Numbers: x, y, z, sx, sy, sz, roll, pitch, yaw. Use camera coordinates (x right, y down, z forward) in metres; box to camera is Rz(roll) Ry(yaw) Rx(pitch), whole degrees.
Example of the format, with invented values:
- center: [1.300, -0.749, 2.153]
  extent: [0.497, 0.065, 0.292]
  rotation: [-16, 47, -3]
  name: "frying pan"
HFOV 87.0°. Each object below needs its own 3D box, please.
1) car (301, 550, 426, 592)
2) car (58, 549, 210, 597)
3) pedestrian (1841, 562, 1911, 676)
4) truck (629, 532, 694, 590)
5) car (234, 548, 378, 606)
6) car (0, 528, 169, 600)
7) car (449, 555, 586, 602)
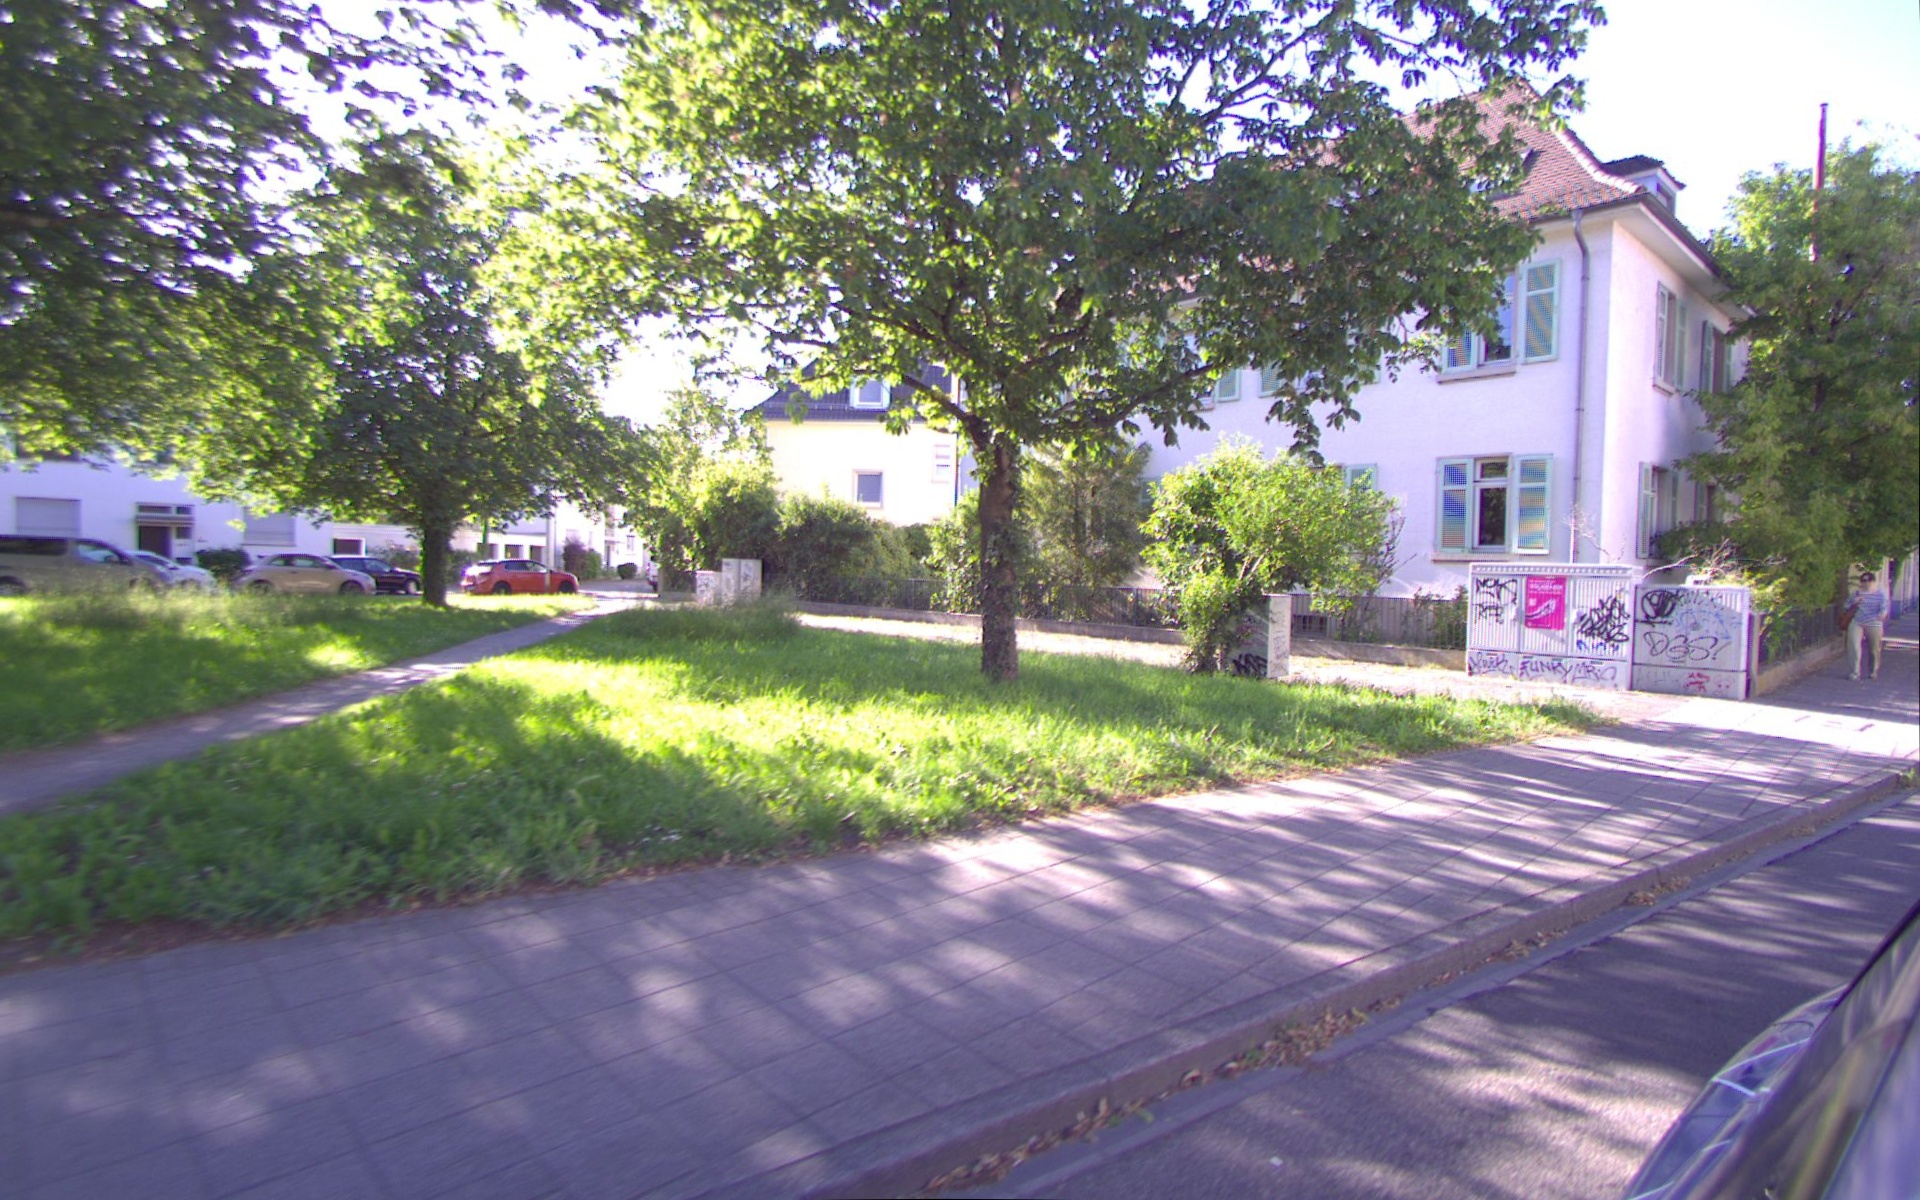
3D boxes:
- center: [-22.491, -1.084, 38.198]
  extent: [3.828, 1.489, 1.757]
  rotation: [-1, 2, -41]
  name: "car"
- center: [-27.447, -0.905, 33.697]
  extent: [3.831, 1.489, 1.756]
  rotation: [-1, 2, -43]
  name: "car"
- center: [14.371, 0.275, 15.872]
  extent: [0.927, 1.694, 0.654]
  rotation: [0, 3, -43]
  name: "pedestrian"
- center: [-14.075, -1.852, 47.964]
  extent: [1.960, 2.607, 4.986]
  rotation: [1, 2, -4]
  name: "truck"
- center: [-20.113, -0.710, 31.157]
  extent: [3.643, 1.668, 1.923]
  rotation: [0, 2, -36]
  name: "car"
- center: [-24.290, -0.971, 27.564]
  extent: [4.266, 1.858, 1.921]
  rotation: [-1, 2, -41]
  name: "car"
- center: [-15.504, -0.721, 35.652]
  extent: [1.596, 1.554, 4.231]
  rotation: [2, 1, 33]
  name: "car"
